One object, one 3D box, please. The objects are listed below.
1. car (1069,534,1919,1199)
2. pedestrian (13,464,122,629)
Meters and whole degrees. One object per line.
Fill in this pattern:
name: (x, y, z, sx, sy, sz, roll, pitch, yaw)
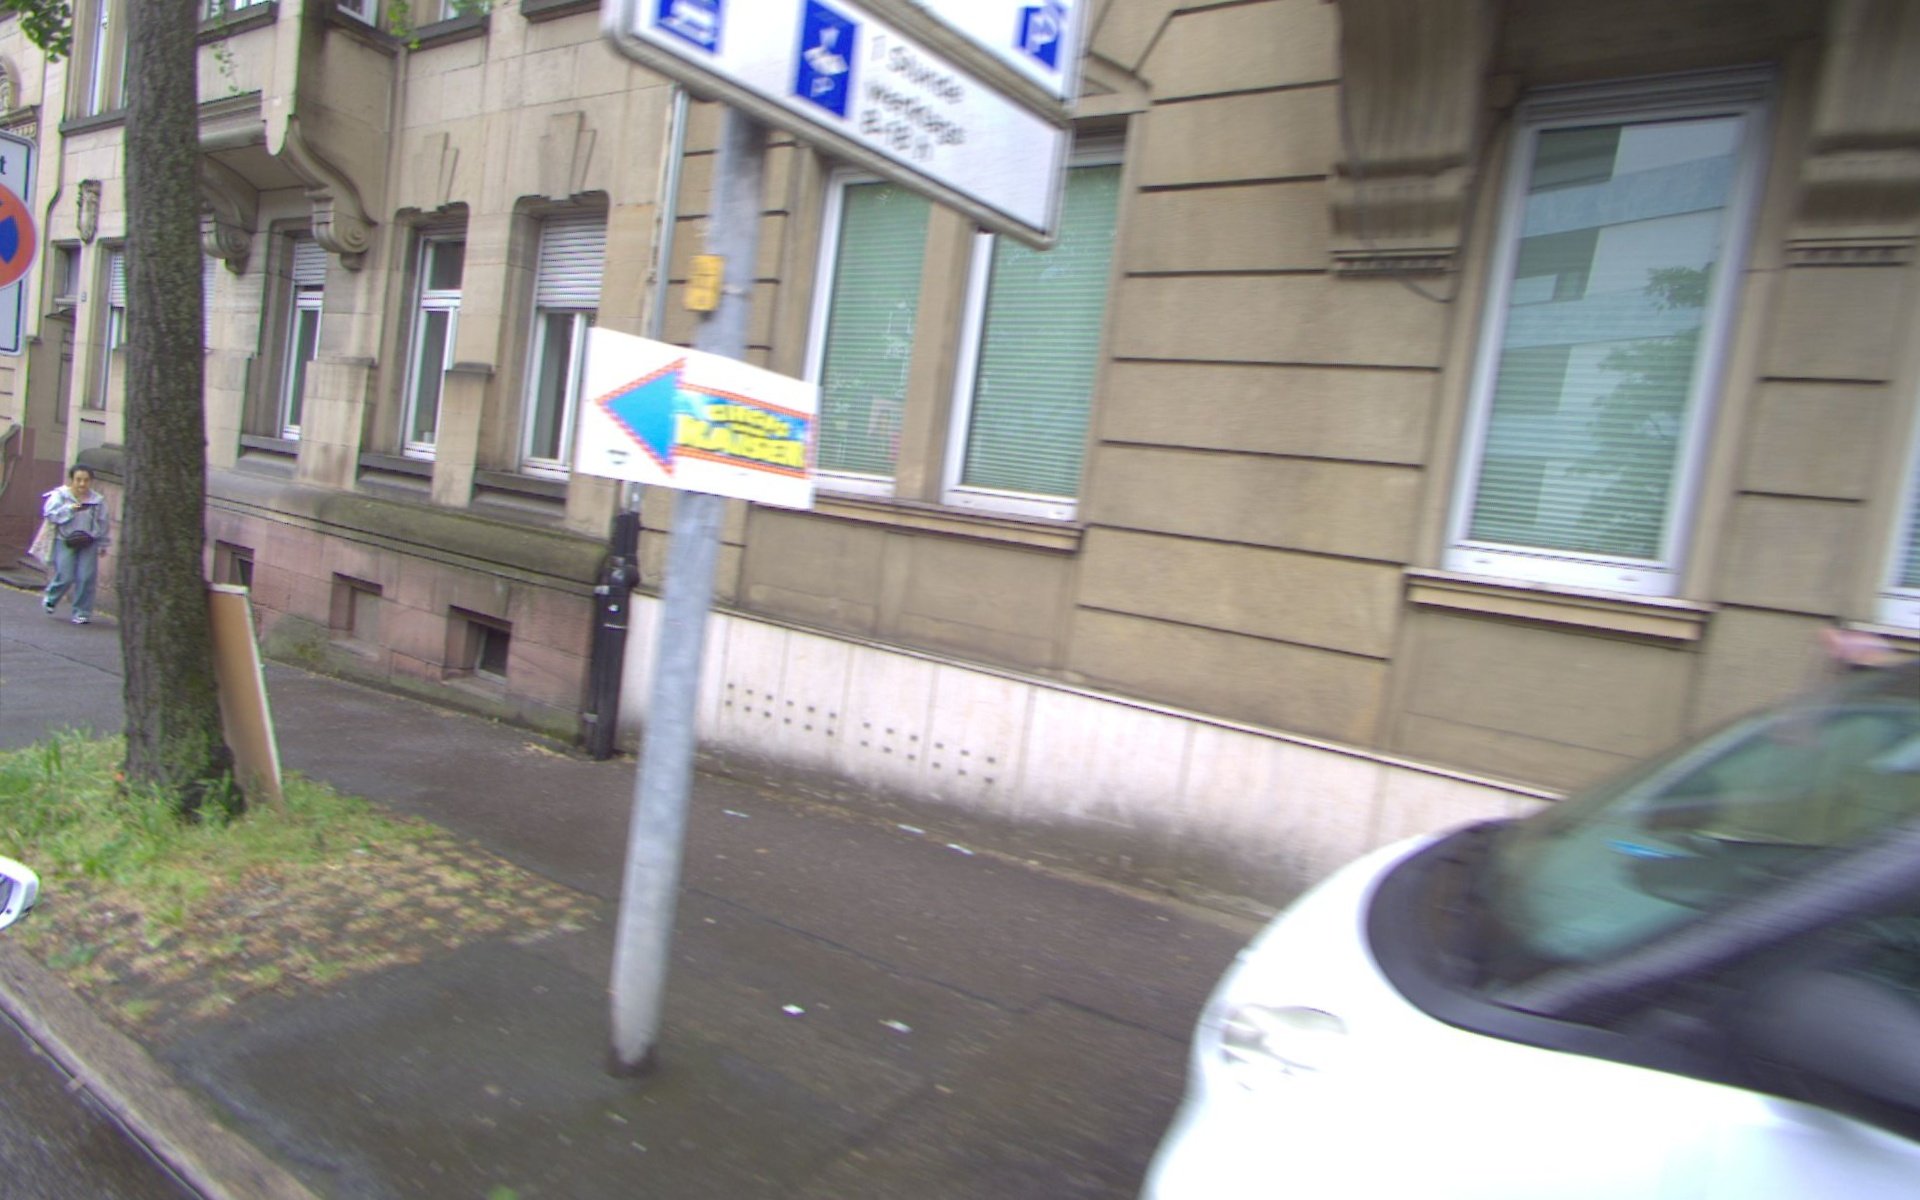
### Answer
car: (1.779, 0.817, 1.440, 2.927, 1.565, 1.298, 7, 5, 32)
pedestrian: (-8.762, -0.521, 9.880, 0.682, 1.530, 0.630, 7, 6, 31)
